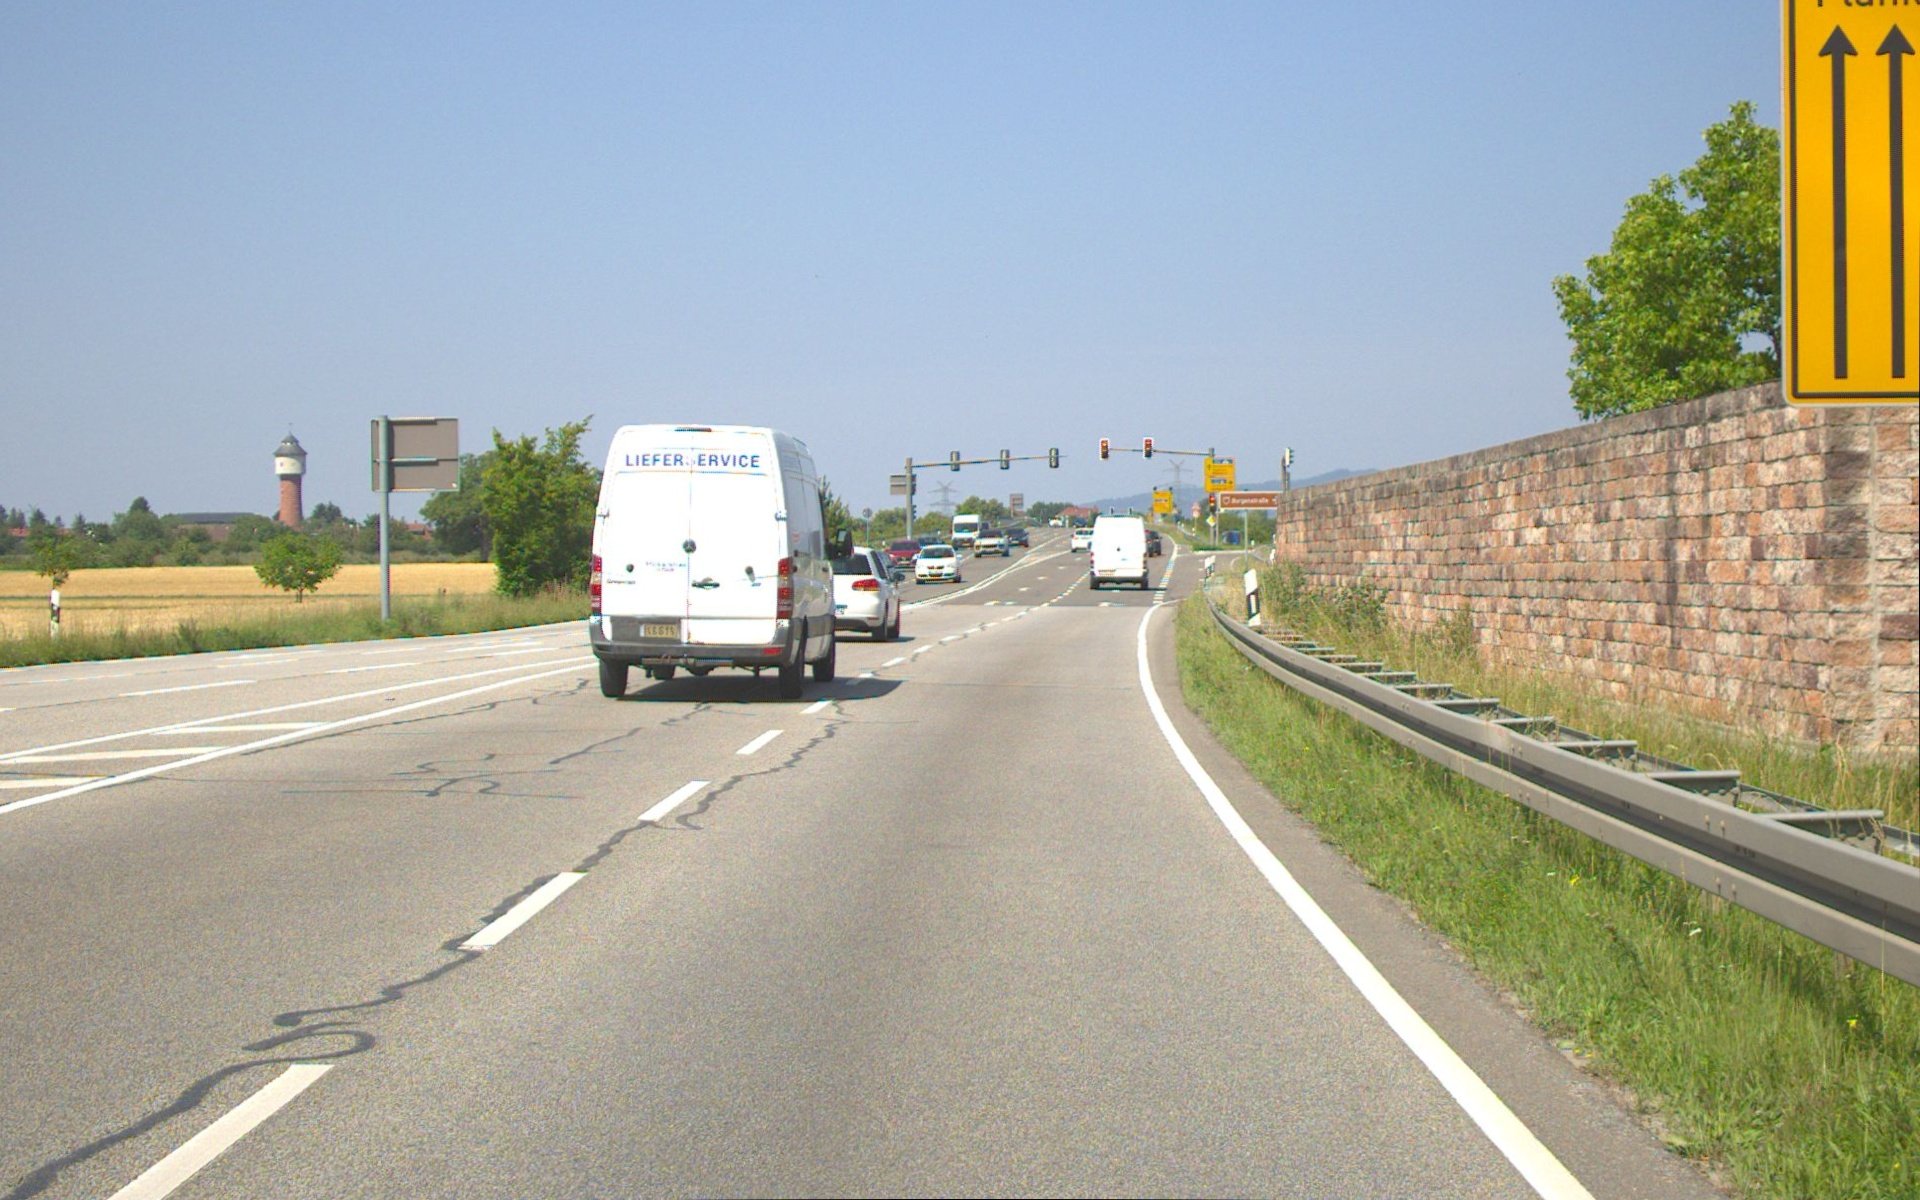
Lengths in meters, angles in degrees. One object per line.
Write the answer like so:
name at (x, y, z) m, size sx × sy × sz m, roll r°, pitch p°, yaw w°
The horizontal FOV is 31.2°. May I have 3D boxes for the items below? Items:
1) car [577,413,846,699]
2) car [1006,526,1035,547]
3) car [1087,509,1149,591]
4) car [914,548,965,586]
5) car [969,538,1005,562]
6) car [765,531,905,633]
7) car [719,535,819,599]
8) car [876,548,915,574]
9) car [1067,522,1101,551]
car at (-2.416, -0.457, 34.968) m, size 2.039 × 2.611 × 5.741 m, roll 2°, pitch 1°, yaw 2°
car at (4.430, -4.662, 251.834) m, size 1.857 × 1.418 × 3.999 m, roll 1°, pitch 0°, yaw 5°
car at (5.506, -1.700, 119.188) m, size 1.994 × 2.686 × 4.969 m, roll 2°, pitch 0°, yaw 3°
car at (-0.771, -1.266, 132.259) m, size 1.749 × 1.437 × 4.081 m, roll 0°, pitch 0°, yaw 3°
car at (1.653, -3.069, 210.333) m, size 1.857 × 1.418 × 3.999 m, roll -1°, pitch 1°, yaw 5°
car at (-1.929, -0.315, 54.030) m, size 1.799 × 1.503 × 4.196 m, roll 1°, pitch 1°, yaw 3°
car at (-4.466, -0.788, 80.829) m, size 1.759 × 1.452 × 4.230 m, roll 0°, pitch 1°, yaw 5°
car at (-3.210, -1.933, 170.685) m, size 1.870 × 1.251 × 4.281 m, roll 2°, pitch 0°, yaw -1°
car at (7.877, -4.035, 218.340) m, size 1.994 × 1.697 × 4.274 m, roll 2°, pitch 0°, yaw 4°
